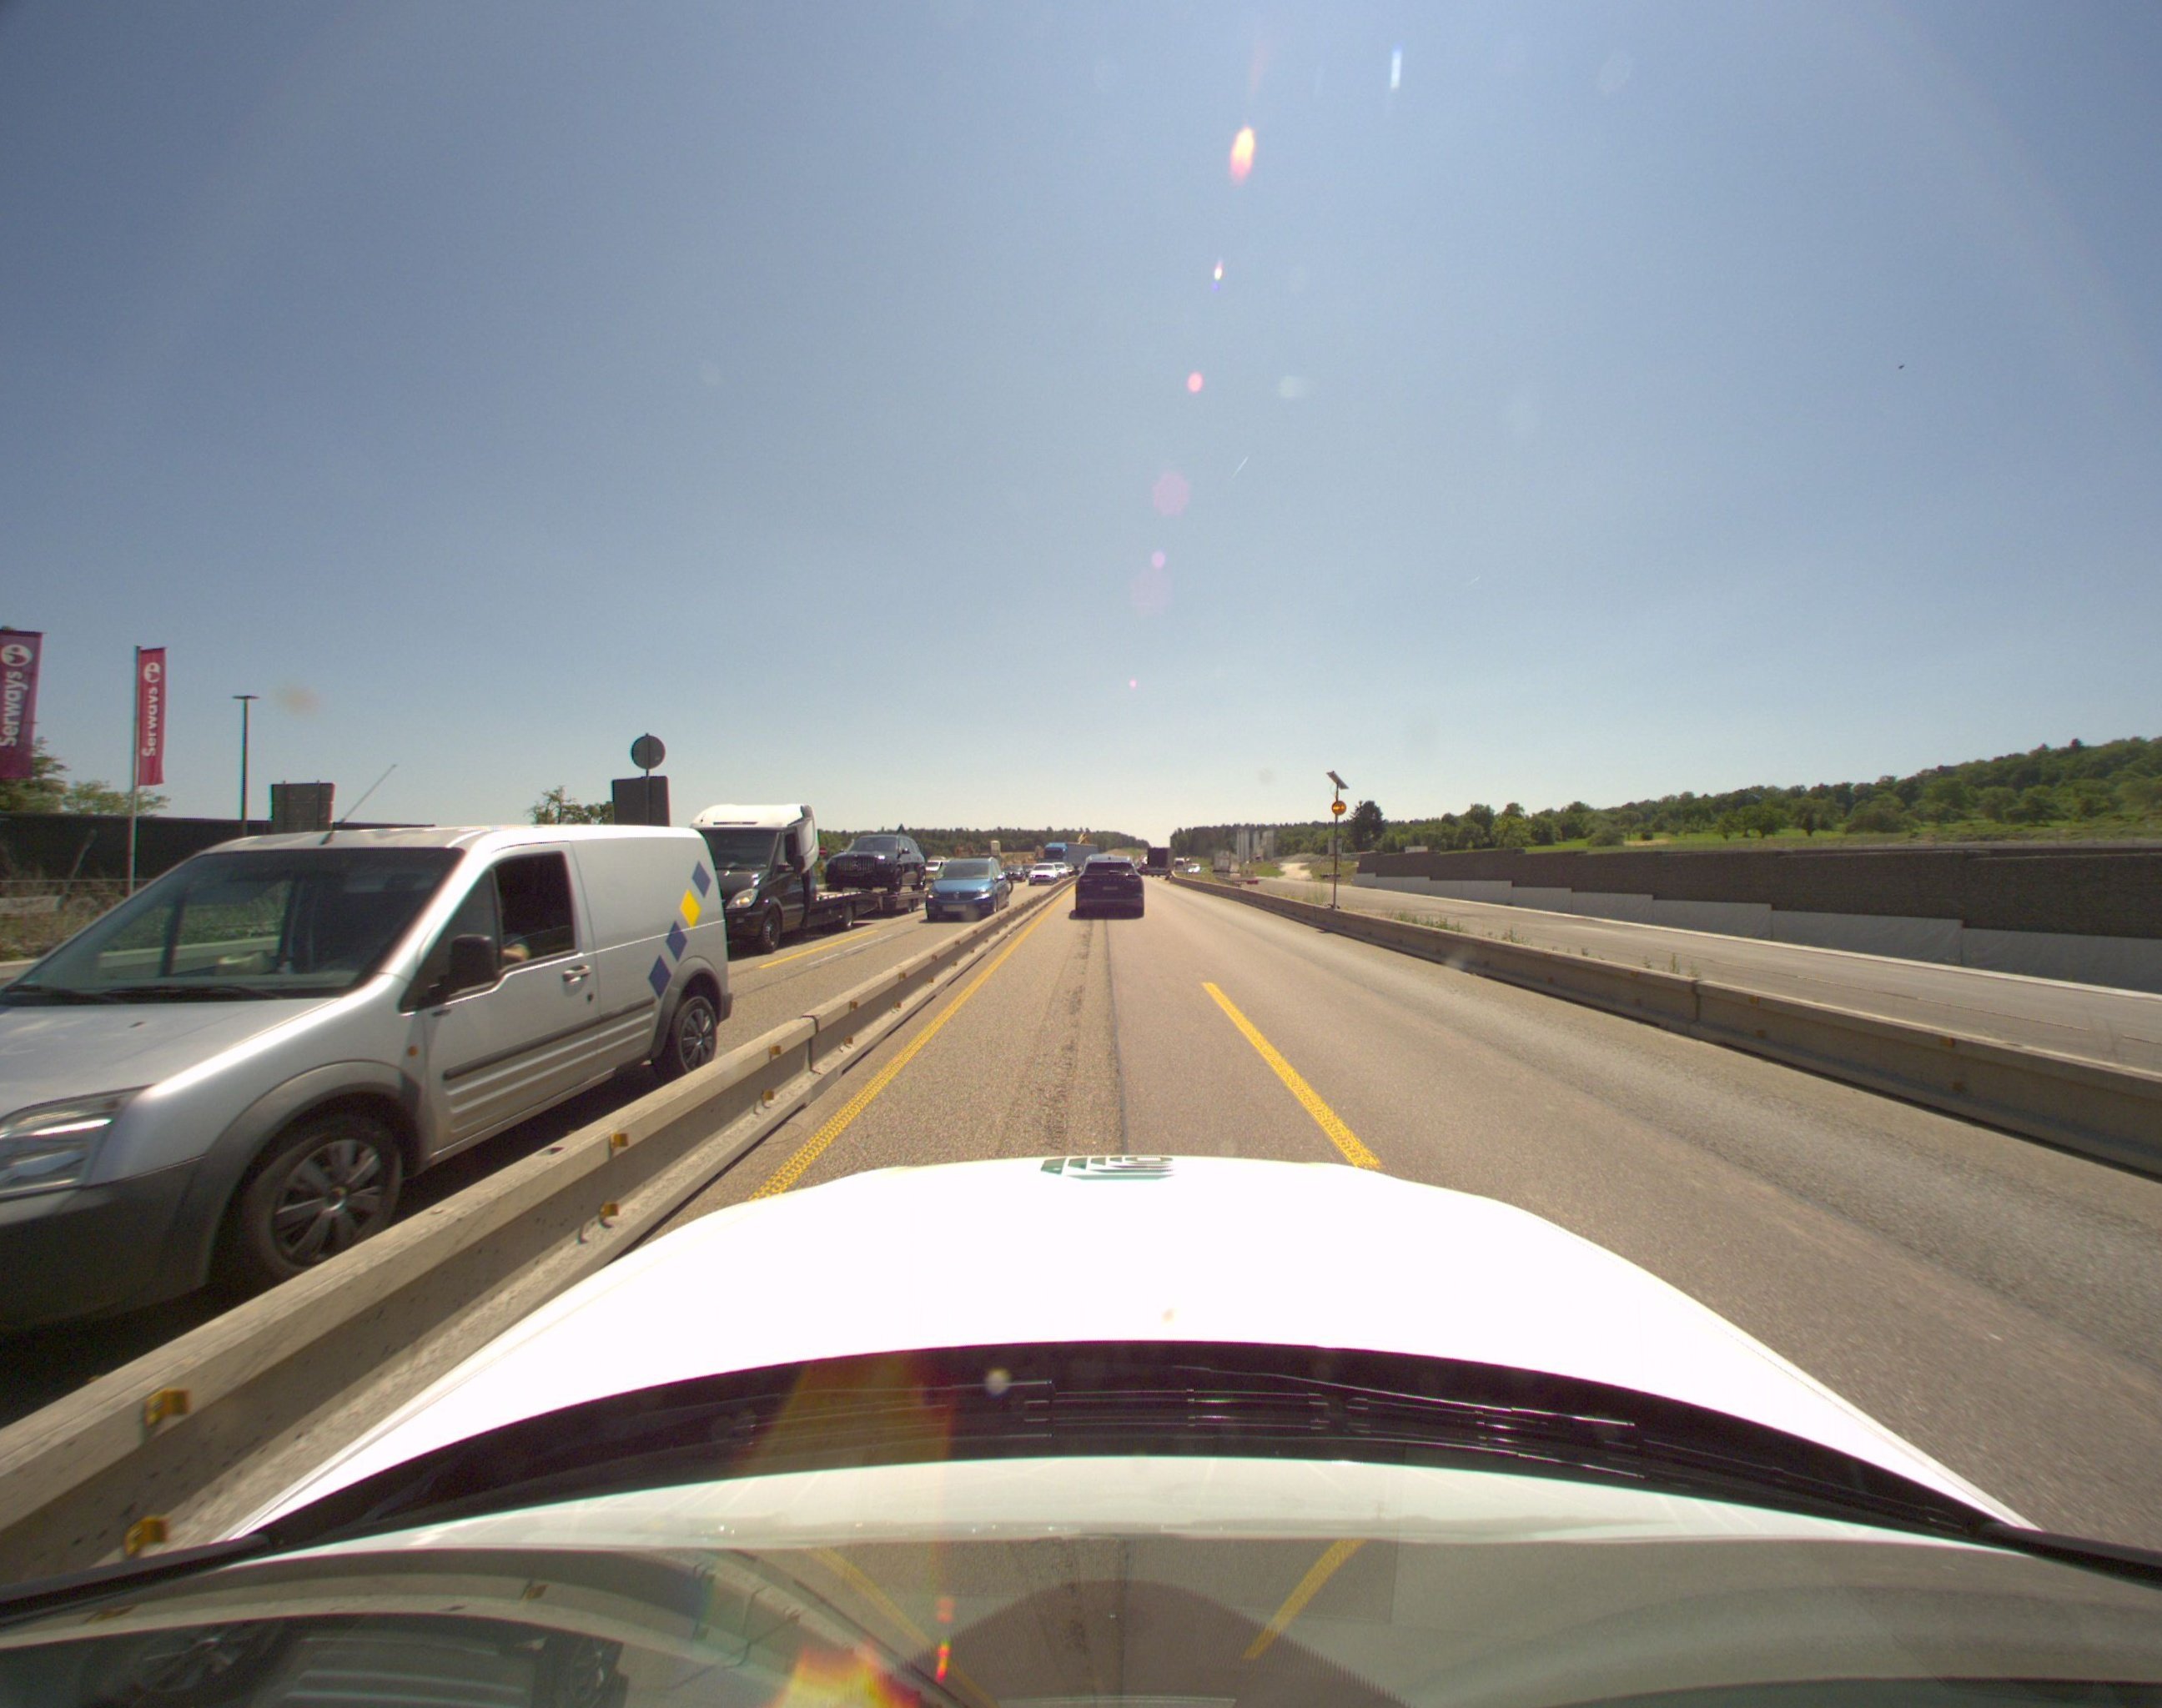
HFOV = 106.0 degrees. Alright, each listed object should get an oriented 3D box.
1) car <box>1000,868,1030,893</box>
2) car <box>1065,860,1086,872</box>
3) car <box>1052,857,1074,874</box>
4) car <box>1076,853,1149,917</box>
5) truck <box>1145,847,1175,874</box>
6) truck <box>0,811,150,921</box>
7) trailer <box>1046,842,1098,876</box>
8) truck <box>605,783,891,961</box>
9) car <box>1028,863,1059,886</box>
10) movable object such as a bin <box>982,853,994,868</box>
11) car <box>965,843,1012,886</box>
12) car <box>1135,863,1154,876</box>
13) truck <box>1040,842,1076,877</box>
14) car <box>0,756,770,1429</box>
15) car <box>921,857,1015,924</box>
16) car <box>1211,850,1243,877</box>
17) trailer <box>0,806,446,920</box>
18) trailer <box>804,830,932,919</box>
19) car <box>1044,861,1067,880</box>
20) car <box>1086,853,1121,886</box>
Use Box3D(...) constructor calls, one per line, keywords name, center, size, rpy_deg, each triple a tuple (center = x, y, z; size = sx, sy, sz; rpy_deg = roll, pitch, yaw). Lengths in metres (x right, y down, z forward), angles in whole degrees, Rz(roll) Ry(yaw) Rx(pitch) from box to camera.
Box3D(name="car", center=(-4.797, 1.932, 59.661), size=(1.761, 1.597, 4.000), rpy_deg=(4, 0, 1))
Box3D(name="car", center=(-0.604, 1.407, 96.563), size=(1.579, 1.441, 4.138), rpy_deg=(-2, -1, 11))
Box3D(name="car", center=(-1.714, 1.096, 79.575), size=(2.009, 1.444, 4.588), rpy_deg=(-1, 0, 1))
Box3D(name="car", center=(0.878, 0.799, 22.625), size=(1.835, 1.582, 4.002), rpy_deg=(-1, 0, 2))
Box3D(name="truck", center=(9.071, 0.730, 93.291), size=(2.654, 2.945, 5.641), rpy_deg=(-1, 0, 13))
Box3D(name="truck", center=(-40.359, 0.451, 30.676), size=(3.120, 3.985, 6.385), rpy_deg=(-1, -1, 28))
Box3D(name="trailer", center=(-1.005, 0.567, 106.578), size=(2.892, 4.129, 13.976), rpy_deg=(0, 0, 16))
Box3D(name="truck", center=(-6.342, 0.300, 17.241), size=(2.471, 2.824, 8.131), rpy_deg=(-1, 0, 2))
Box3D(name="car", center=(-2.418, 1.304, 53.408), size=(1.810, 1.376, 4.248), rpy_deg=(-1, 0, 1))
Box3D(name="movable object such as a bin", center=(-21.219, 1.417, 186.108), size=(2.421, 3.126, 5.465), rpy_deg=(4, 0, -9))
Box3D(name="car", center=(-5.583, 0.627, 49.877), size=(1.907, 2.399, 6.453), rpy_deg=(-2, 0, 1))
Box3D(name="car", center=(8.325, 2.001, 106.058), size=(1.808, 1.644, 3.879), rpy_deg=(1, -1, 14))
Box3D(name="truck", center=(-2.799, 0.608, 100.194), size=(2.894, 4.129, 6.161), rpy_deg=(0, 0, 13))
Box3D(name="car", center=(-3.581, 0.642, 4.523), size=(1.847, 1.839, 4.592), rpy_deg=(-1, 0, 1))
Box3D(name="car", center=(-3.001, 0.922, 22.412), size=(1.897, 1.608, 4.002), rpy_deg=(0, 0, 2))
Box3D(name="car", center=(23.988, 1.670, 133.817), size=(3.408, 4.101, 9.241), rpy_deg=(4, 0, 20))
Box3D(name="trailer", center=(-37.375, 0.359, 36.316), size=(3.120, 4.111, 14.249), rpy_deg=(-1, -1, 28))
Box3D(name="trailer", center=(-6.076, 0.542, 24.120), size=(2.174, 2.314, 5.615), rpy_deg=(-1, 0, 1))
Box3D(name="car", center=(-2.130, 1.361, 69.240), size=(1.728, 1.478, 4.520), rpy_deg=(-1, 0, 1))
Box3D(name="car", center=(1.337, 0.901, 49.029), size=(1.987, 1.844, 4.000), rpy_deg=(1, -1, 0))
